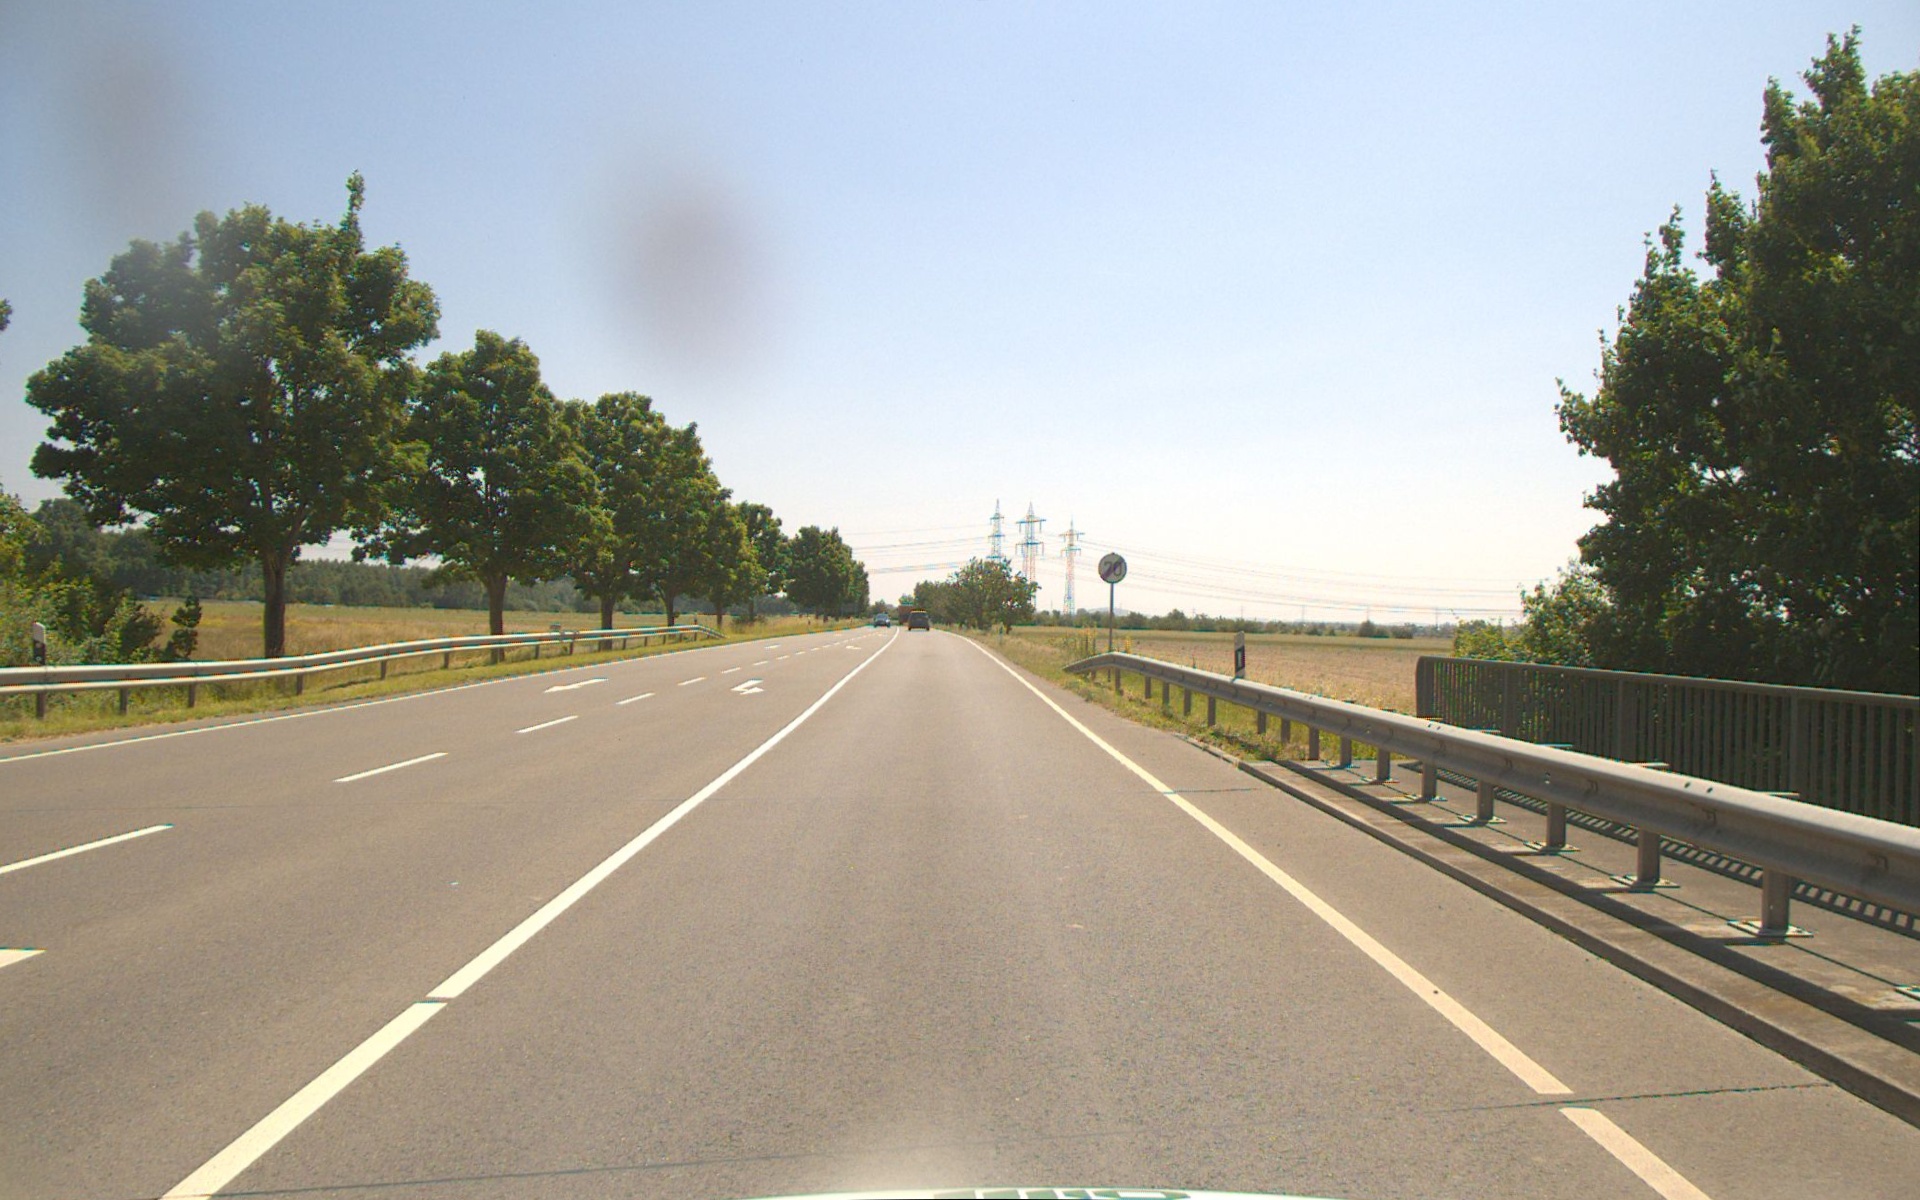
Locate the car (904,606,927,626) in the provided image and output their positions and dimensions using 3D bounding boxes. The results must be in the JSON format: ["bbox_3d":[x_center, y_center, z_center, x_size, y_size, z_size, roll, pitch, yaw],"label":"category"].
[{"bbox_3d":[-3.893,1.383,144.395,1.847,1.544,4.037,4,-1,-3],"label":"car"}]

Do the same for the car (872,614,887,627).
[{"bbox_3d":[-8.961,2.264,183.961,1.704,1.499,4.615,0,-1,-3],"label":"car"}]
